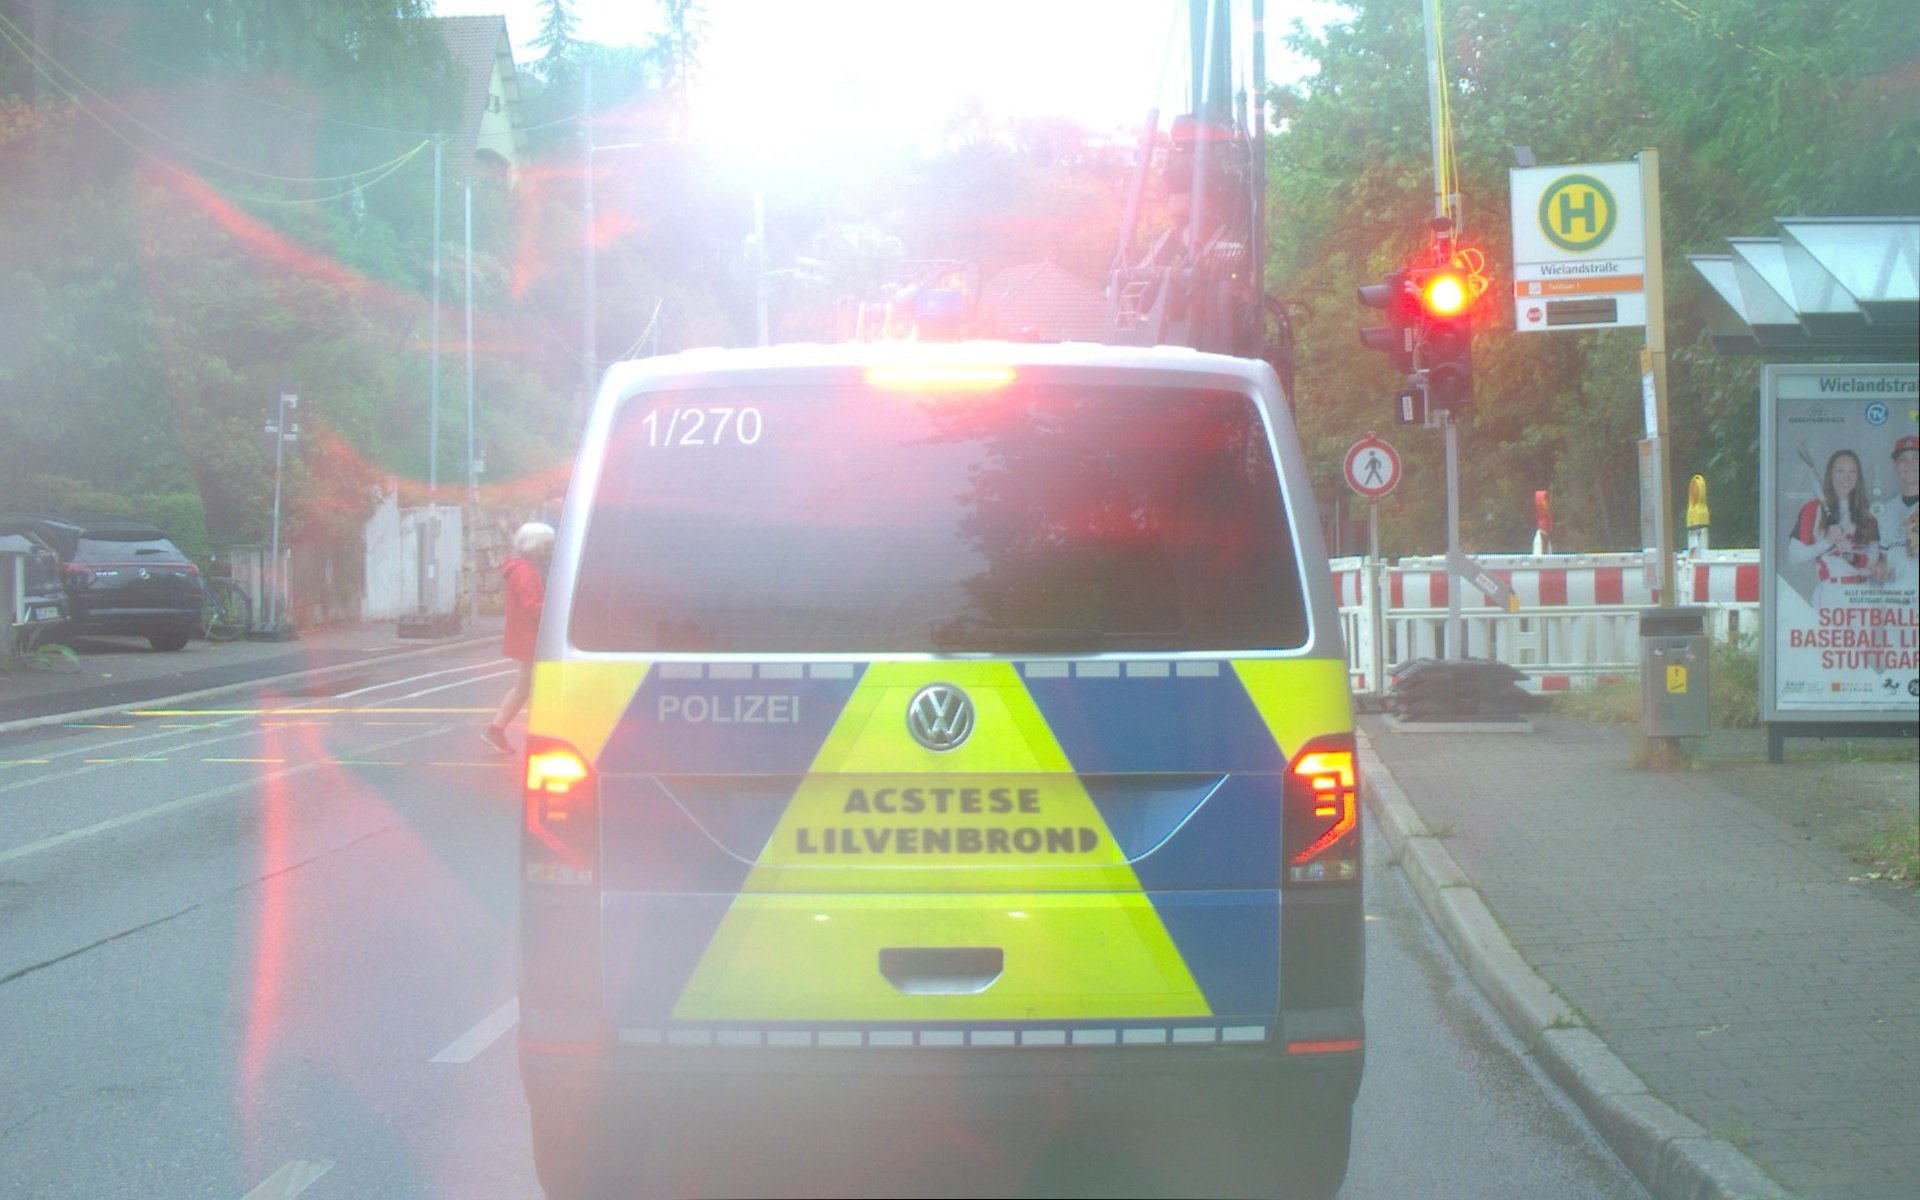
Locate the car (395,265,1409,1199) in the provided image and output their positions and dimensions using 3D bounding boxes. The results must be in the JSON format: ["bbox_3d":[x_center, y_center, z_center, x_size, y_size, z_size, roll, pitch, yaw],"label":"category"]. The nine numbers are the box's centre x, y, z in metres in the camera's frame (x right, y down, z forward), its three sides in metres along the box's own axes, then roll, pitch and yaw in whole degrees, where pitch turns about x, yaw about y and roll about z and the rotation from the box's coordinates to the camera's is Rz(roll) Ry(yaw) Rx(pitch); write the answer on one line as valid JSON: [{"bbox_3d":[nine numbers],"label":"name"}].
[{"bbox_3d":[-0.049,0.290,9.000,1.993,2.007,4.402,1,1,2],"label":"car"}]

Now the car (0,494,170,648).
[{"bbox_3d":[-10.287,-0.310,34.966,3.989,1.481,1.759,1,-1,11],"label":"car"}]

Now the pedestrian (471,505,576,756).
[{"bbox_3d":[-2.789,0.196,21.990,0.563,1.577,0.468,1,-1,2],"label":"pedestrian"}]

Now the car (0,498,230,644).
[{"bbox_3d":[-10.127,-0.320,37.115,3.989,1.481,1.759,1,-1,11],"label":"car"}]

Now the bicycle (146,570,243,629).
[{"bbox_3d":[-8.934,-0.004,40.125,1.054,0.660,0.320,1,-1,10],"label":"bicycle"}]

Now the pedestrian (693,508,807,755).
[{"bbox_3d":[-1.314,0.200,21.605,0.626,1.517,0.593,1,-1,2],"label":"pedestrian"}]

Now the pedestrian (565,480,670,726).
[{"bbox_3d":[-2.428,0.027,24.393,0.626,1.709,0.593,1,-1,2],"label":"pedestrian"}]

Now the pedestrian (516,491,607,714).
[{"bbox_3d":[-2.725,0.022,23.546,0.525,1.502,0.429,1,-1,2],"label":"pedestrian"}]

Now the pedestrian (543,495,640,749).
[{"bbox_3d":[-2.445,0.146,22.838,0.549,1.662,0.414,1,-1,2],"label":"pedestrian"}]
